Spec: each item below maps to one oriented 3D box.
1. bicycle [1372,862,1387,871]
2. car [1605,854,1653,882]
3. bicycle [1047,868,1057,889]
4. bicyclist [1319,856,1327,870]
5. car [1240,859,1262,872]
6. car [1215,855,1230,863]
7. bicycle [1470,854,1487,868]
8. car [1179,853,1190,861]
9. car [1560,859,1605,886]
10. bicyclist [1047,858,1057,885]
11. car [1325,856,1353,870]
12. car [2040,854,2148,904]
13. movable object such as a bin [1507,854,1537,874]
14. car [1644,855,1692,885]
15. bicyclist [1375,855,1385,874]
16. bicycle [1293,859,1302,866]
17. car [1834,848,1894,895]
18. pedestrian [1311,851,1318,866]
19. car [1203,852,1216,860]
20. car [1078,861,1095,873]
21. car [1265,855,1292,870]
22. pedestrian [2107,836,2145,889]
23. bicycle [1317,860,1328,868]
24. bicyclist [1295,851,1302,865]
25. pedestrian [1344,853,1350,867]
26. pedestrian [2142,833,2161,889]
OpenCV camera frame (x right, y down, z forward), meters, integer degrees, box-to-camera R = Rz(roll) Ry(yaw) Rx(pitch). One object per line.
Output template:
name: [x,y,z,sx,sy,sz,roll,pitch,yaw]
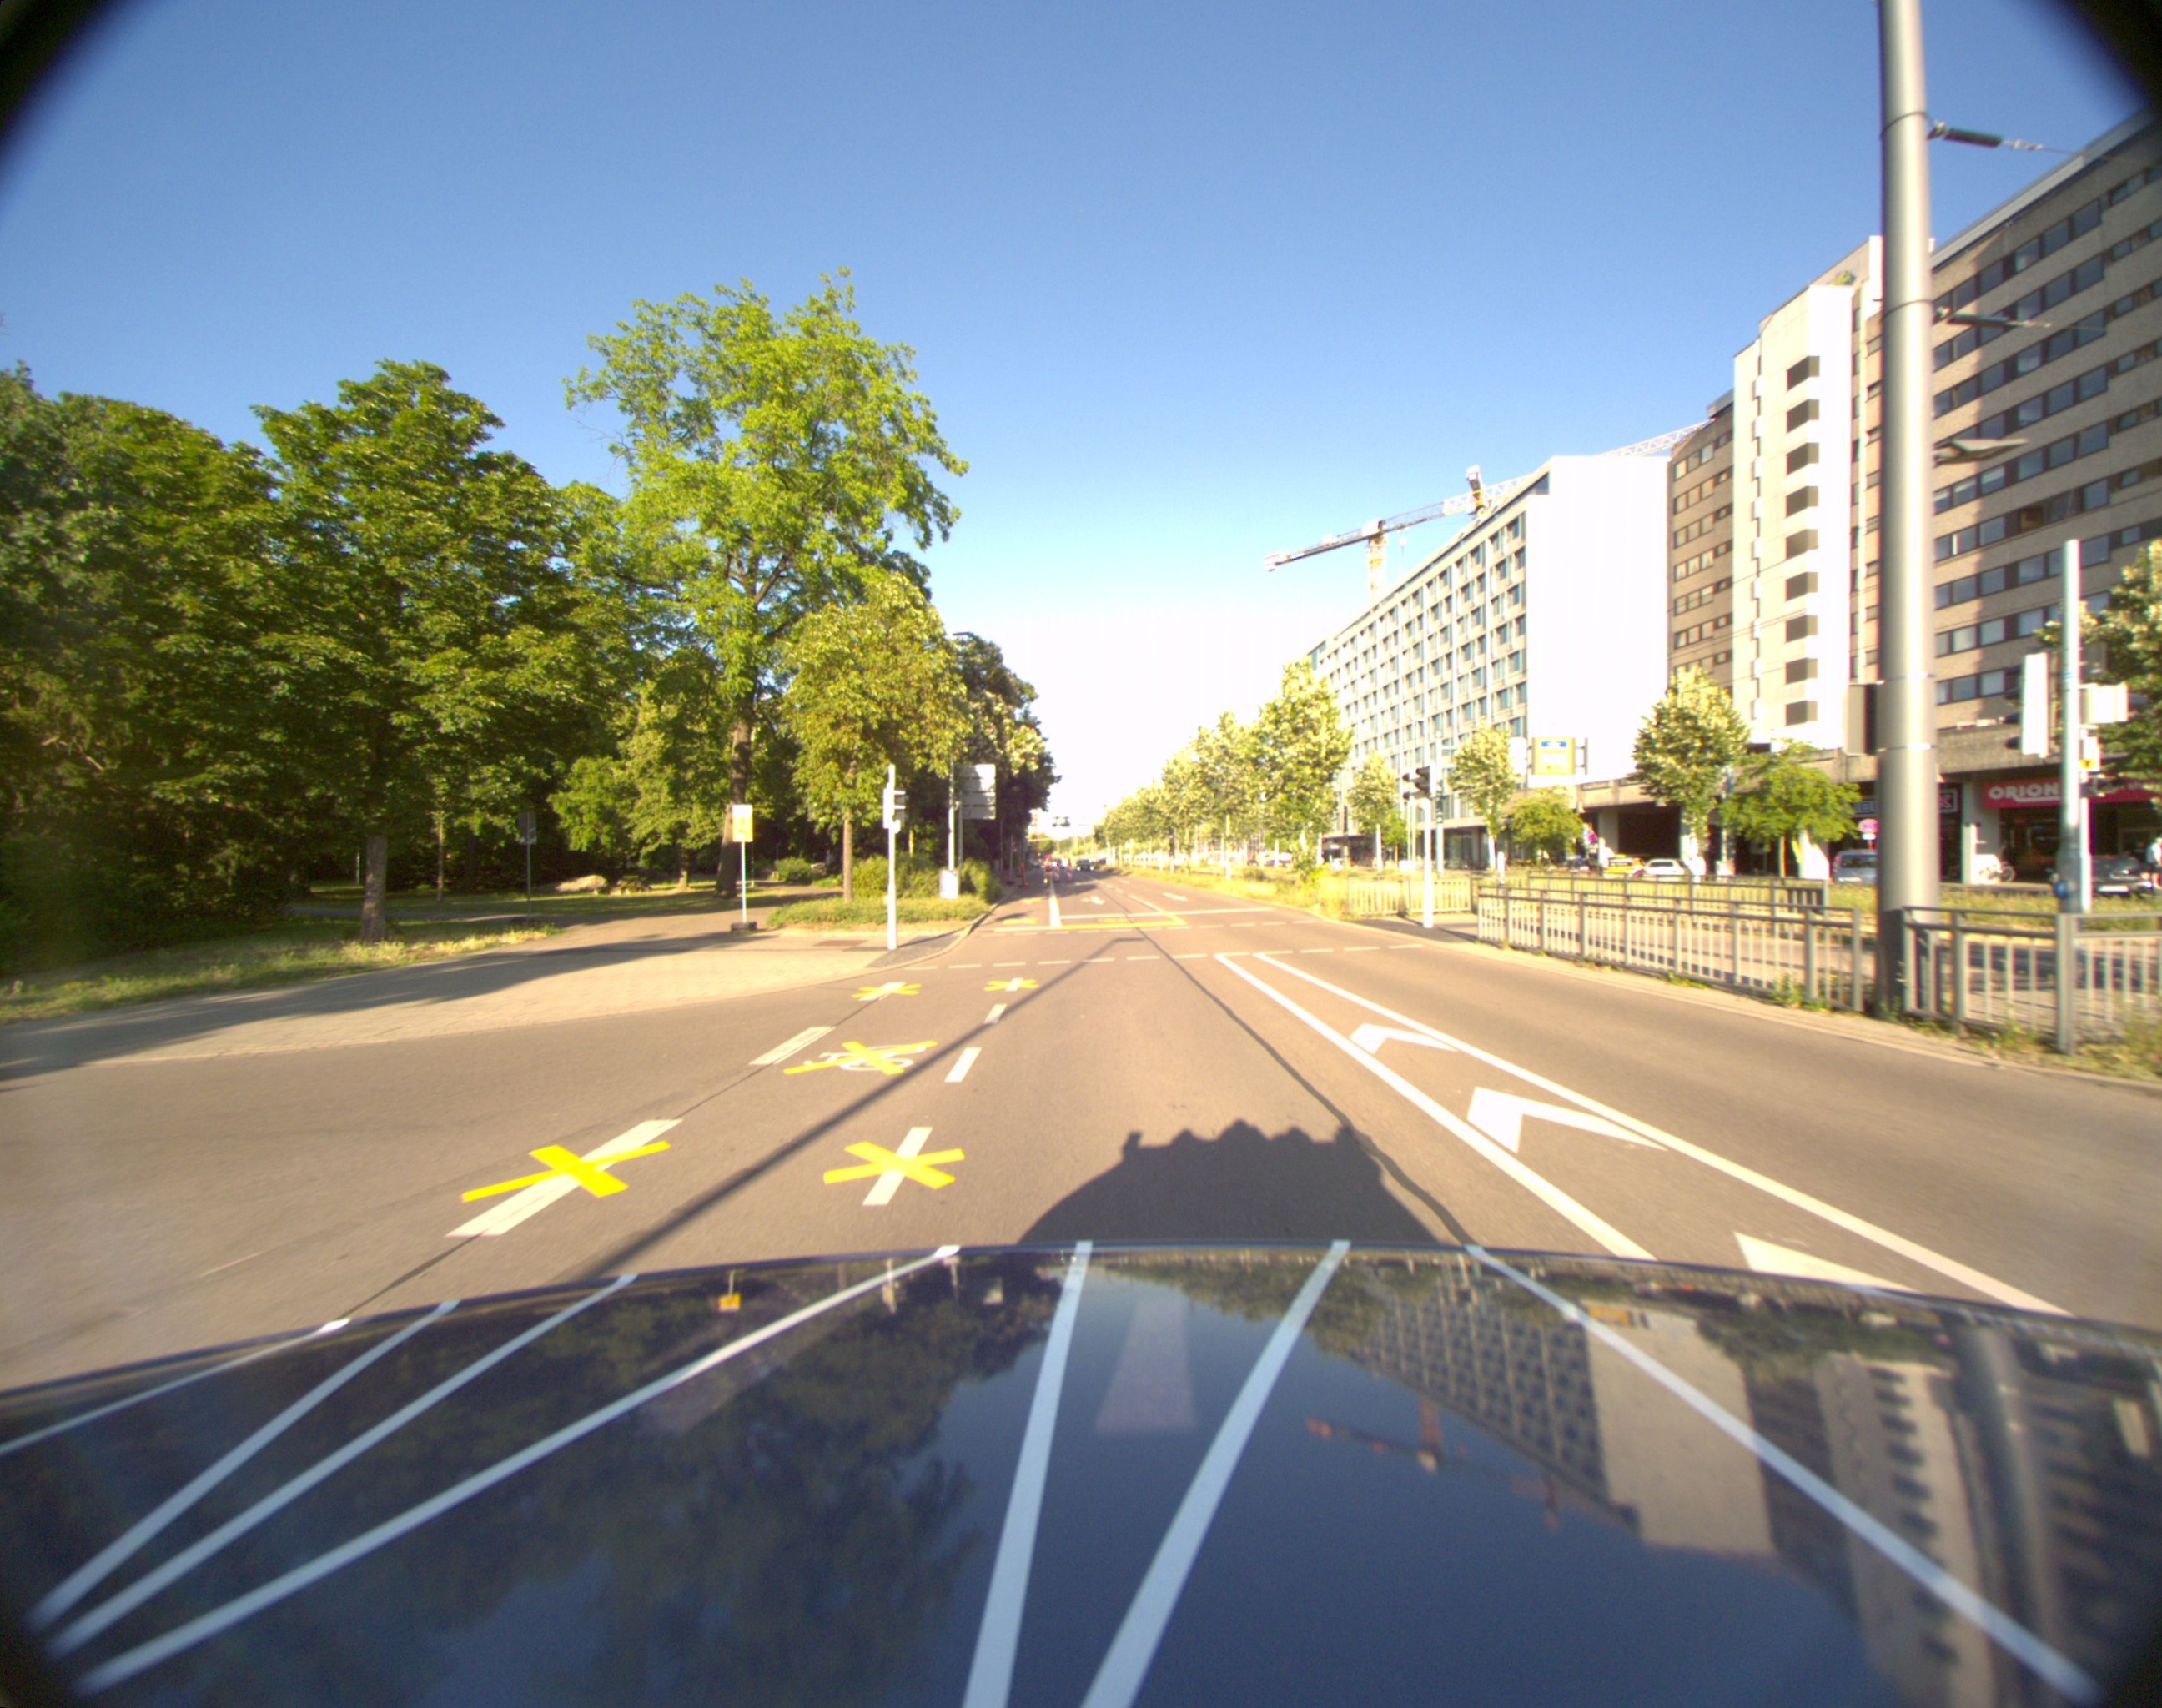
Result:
bicycle: [28.045,1.172,71.461,0.437,0.857,2.102,0,0,-4]
car: [31.970,0.812,44.269,1.785,1.436,3.809,-2,1,43]
bicycle: [-1.488,1.253,38.926,0.506,1.018,1.505,-1,0,-2]
bicyclist: [27.681,1.014,87.025,0.539,1.647,0.919,0,0,-4]
car: [23.897,1.572,107.044,1.875,1.692,4.487,-3,1,-2]
car: [24.643,0.864,132.527,1.613,1.370,3.878,-3,1,-2]
bicycle: [37.694,0.660,72.094,0.394,1.223,1.718,0,0,-12]
car: [23.983,0.606,176.027,1.875,1.742,3.792,-3,1,-2]
car: [31.732,1.163,48.049,1.617,1.436,4.556,-2,1,43]
bicyclist: [-1.494,0.885,39.003,0.516,1.399,0.805,-1,0,-3]
car: [29.550,0.977,87.139,1.875,1.457,3.388,-3,1,-2]
car: [33.402,0.785,25.149,1.617,1.394,3.473,-2,1,44]
movable object such as a bin: [30.794,0.704,53.095,1.390,1.363,1.171,-1,0,-3]
car: [32.172,0.845,41.579,1.617,1.436,3.800,-2,1,44]
bicyclist: [28.048,0.991,71.274,0.559,1.735,0.919,0,0,-4]
bicycle: [26.561,0.990,93.136,0.437,0.857,2.102,0,0,-4]
car: [32.559,0.697,31.579,4.204,1.681,1.617,-3,1,-43]
pedestrian: [31.423,0.547,102.244,0.622,2.002,0.726,-1,0,-2]
car: [26.350,0.395,156.107,1.875,1.582,3.481,-3,1,-2]
car: [0.647,1.532,90.060,1.998,1.346,4.000,-1,0,0]
car: [24.218,1.024,93.253,1.875,1.579,4.637,-3,1,-2]
pedestrian: [39.961,0.306,29.055,0.549,2.002,0.654,-1,1,-3]
bicycle: [27.671,1.111,87.018,0.437,0.857,2.102,0,0,-4]
bicyclist: [26.581,0.458,93.046,0.539,1.647,0.919,0,0,-5]
pedestrian: [32.356,0.754,92.486,0.479,1.626,0.597,-1,0,-2]
pedestrian: [38.939,0.257,27.370,0.549,2.002,0.654,-1,1,-3]
